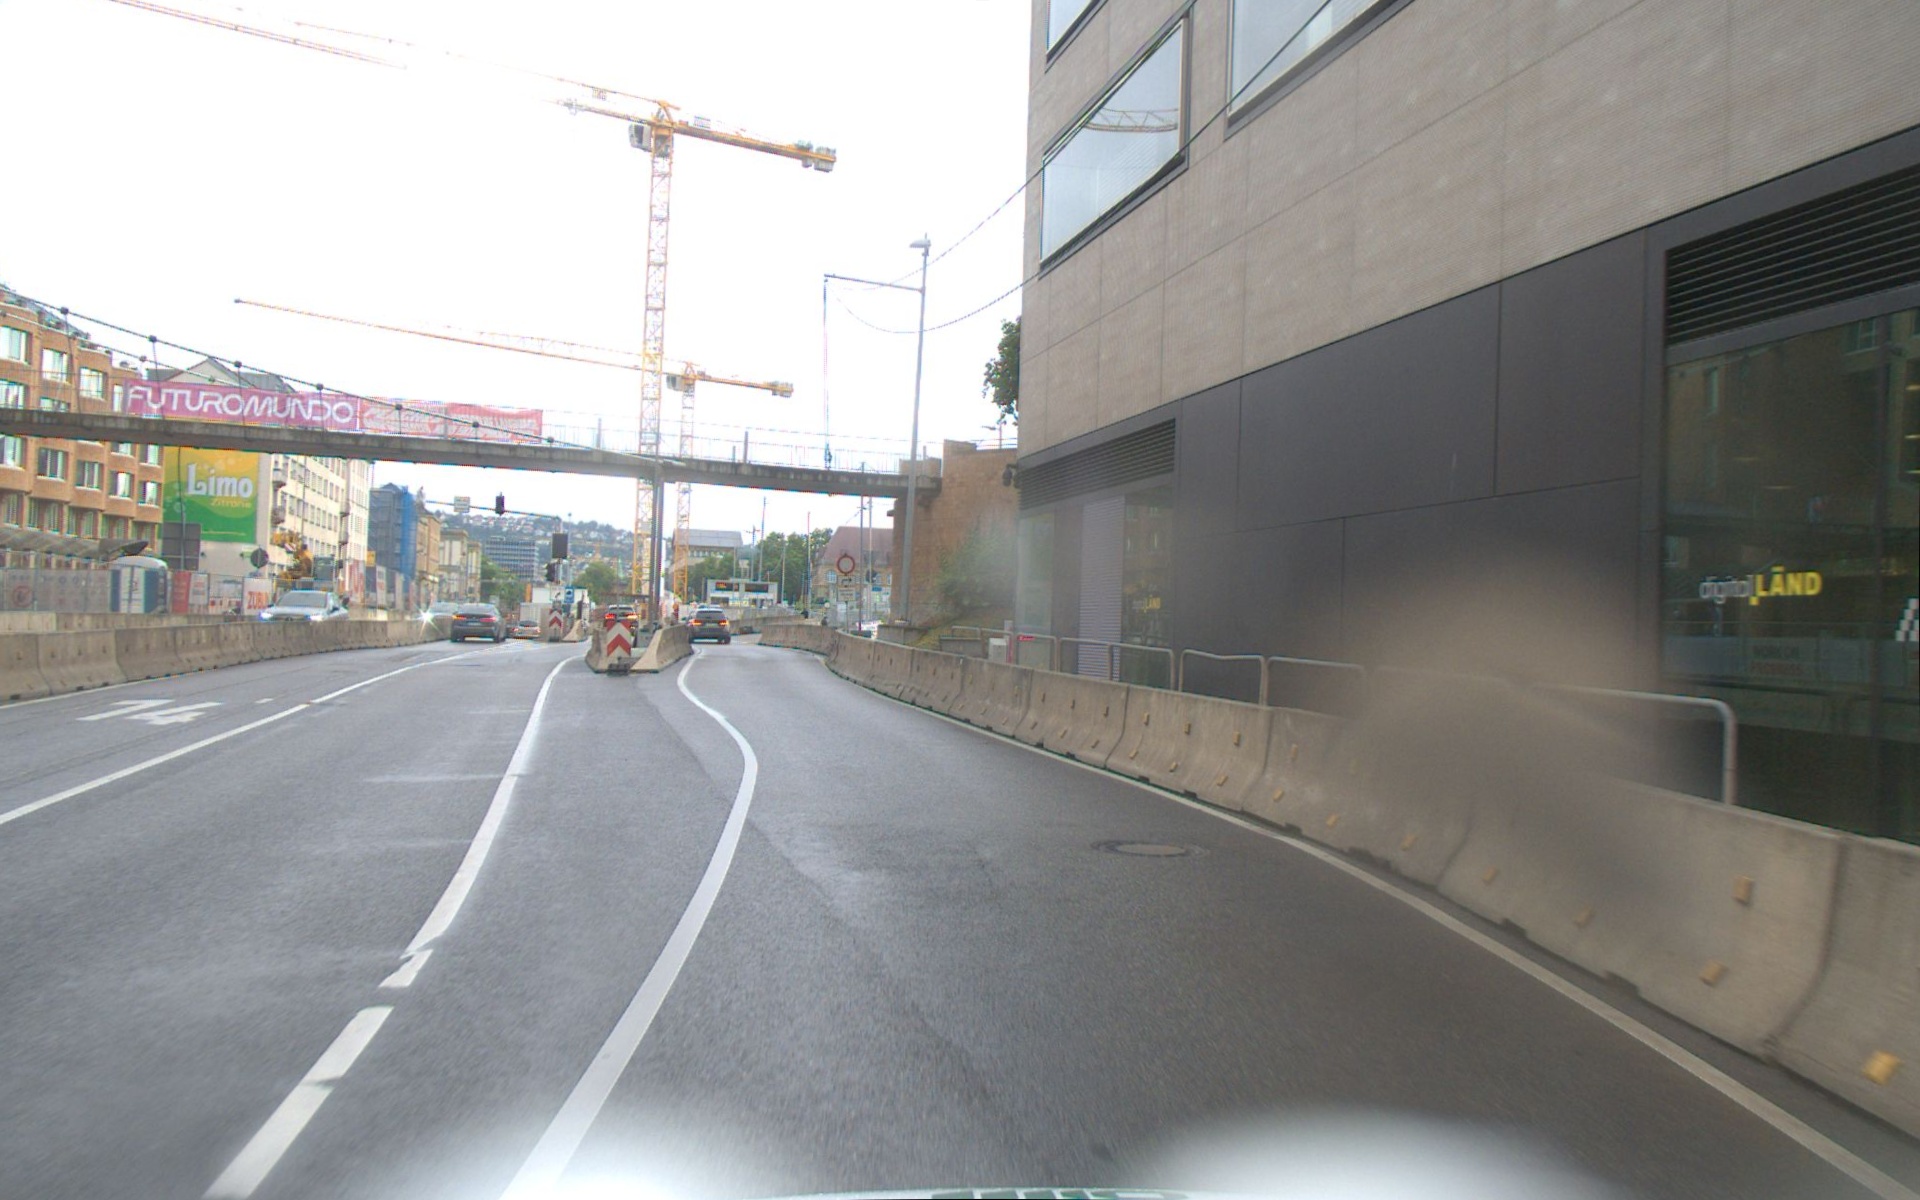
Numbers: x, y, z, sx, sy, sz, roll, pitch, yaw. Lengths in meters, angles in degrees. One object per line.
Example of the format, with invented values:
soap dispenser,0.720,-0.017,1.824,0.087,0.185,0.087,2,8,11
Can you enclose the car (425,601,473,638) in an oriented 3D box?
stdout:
car,-25.733,0.979,83.372,1.773,1.651,3.894,2,1,-10

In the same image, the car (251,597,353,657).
car,-19.812,0.787,50.013,1.958,1.651,4.690,2,0,-11

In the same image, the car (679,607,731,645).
car,-10.931,1.087,70.658,1.831,1.458,4.640,2,-1,-13

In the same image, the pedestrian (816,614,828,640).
pedestrian,-9.469,1.851,113.828,0.677,1.809,1.020,1,-2,-11

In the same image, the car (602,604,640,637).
car,-18.034,1.073,88.129,1.829,1.690,4.644,2,-1,-10

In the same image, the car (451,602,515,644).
car,-18.209,0.866,63.319,1.829,1.468,4.645,2,-1,-10

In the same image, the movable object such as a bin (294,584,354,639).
movable object such as a bin,-28.402,0.521,74.004,1.993,2.317,4.275,-1,0,-15

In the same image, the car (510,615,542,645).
car,-27.929,1.923,106.589,1.831,1.796,4.639,2,-1,-14
